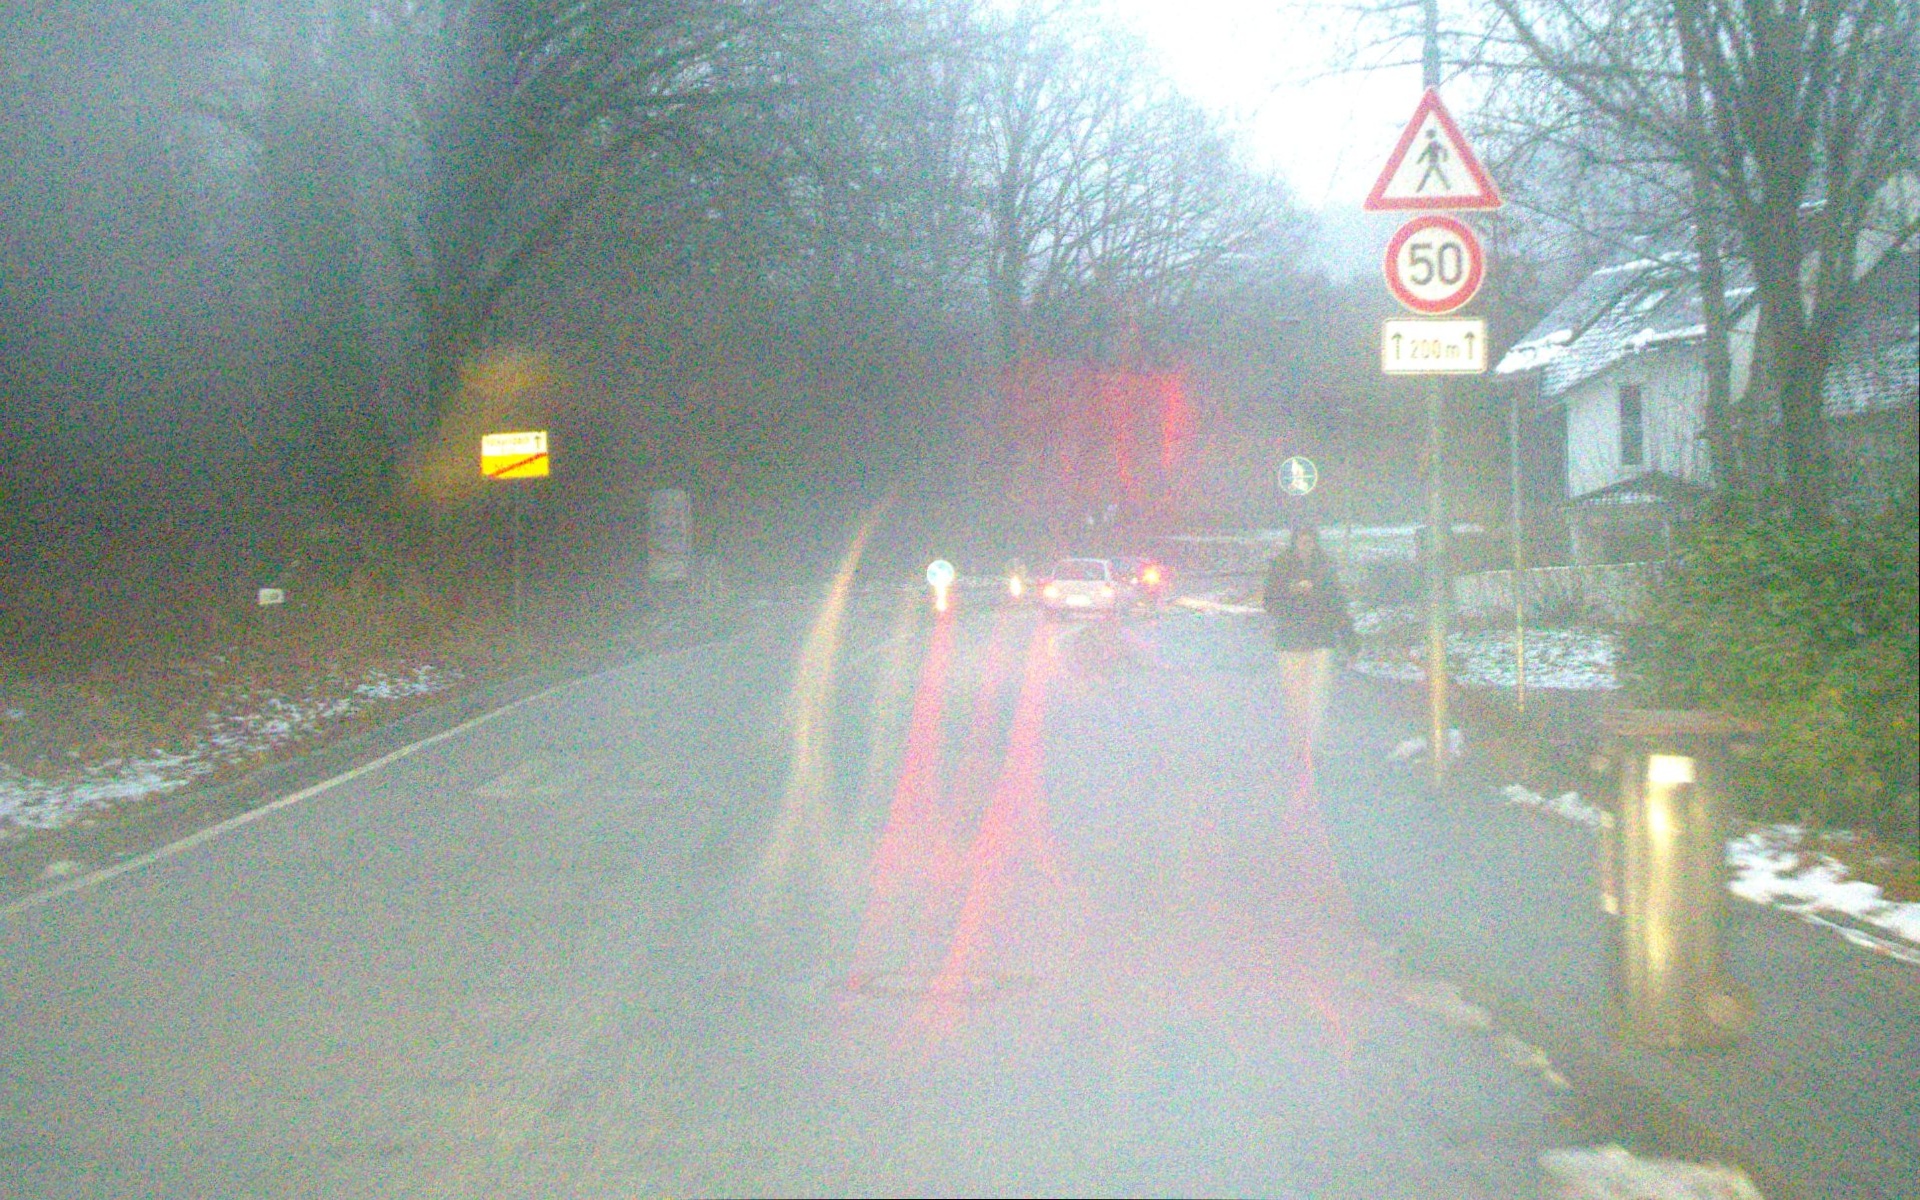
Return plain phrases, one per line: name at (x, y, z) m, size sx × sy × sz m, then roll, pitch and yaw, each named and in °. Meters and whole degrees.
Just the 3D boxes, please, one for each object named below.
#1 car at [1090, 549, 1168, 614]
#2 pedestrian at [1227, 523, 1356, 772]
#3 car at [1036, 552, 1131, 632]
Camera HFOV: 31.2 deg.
car at (4.485, -0.509, 91.698) m, size 1.933 × 1.670 × 4.000 m, roll -1°, pitch 1°, yaw 1°
pedestrian at (2.242, 0.305, 23.345) m, size 0.743 × 1.649 × 0.970 m, roll -1°, pitch 1°, yaw -1°
car at (2.863, -0.206, 78.965) m, size 1.933 × 1.775 × 3.999 m, roll 0°, pitch 1°, yaw 6°
